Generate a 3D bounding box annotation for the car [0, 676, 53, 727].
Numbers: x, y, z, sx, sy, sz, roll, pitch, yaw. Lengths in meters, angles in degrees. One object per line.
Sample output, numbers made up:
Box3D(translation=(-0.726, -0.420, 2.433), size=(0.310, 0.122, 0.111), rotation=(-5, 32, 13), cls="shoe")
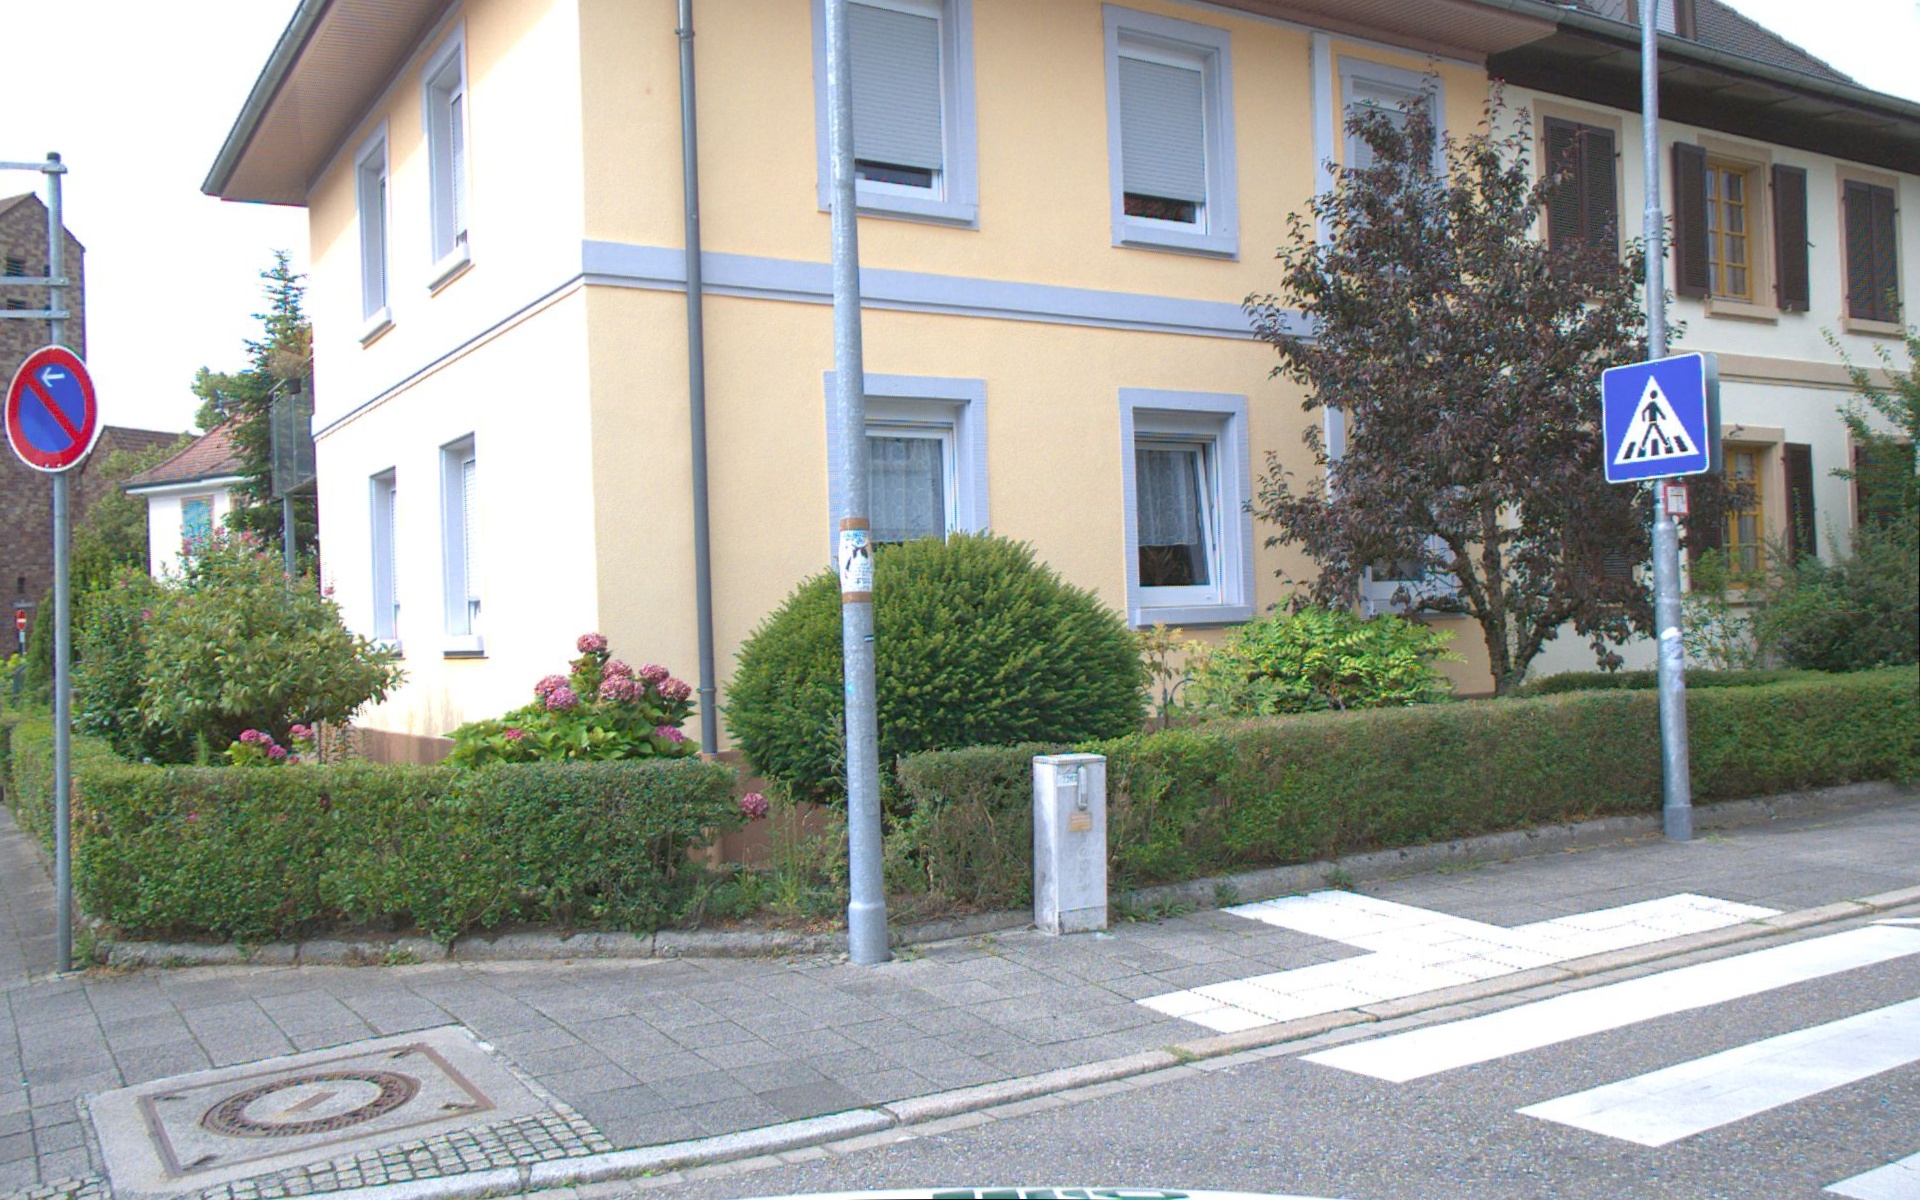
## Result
Box3D(translation=(-31.005, 3.260, 52.059), size=(4.176, 1.489, 1.665), rotation=(-1, 0, -33), cls="car")
